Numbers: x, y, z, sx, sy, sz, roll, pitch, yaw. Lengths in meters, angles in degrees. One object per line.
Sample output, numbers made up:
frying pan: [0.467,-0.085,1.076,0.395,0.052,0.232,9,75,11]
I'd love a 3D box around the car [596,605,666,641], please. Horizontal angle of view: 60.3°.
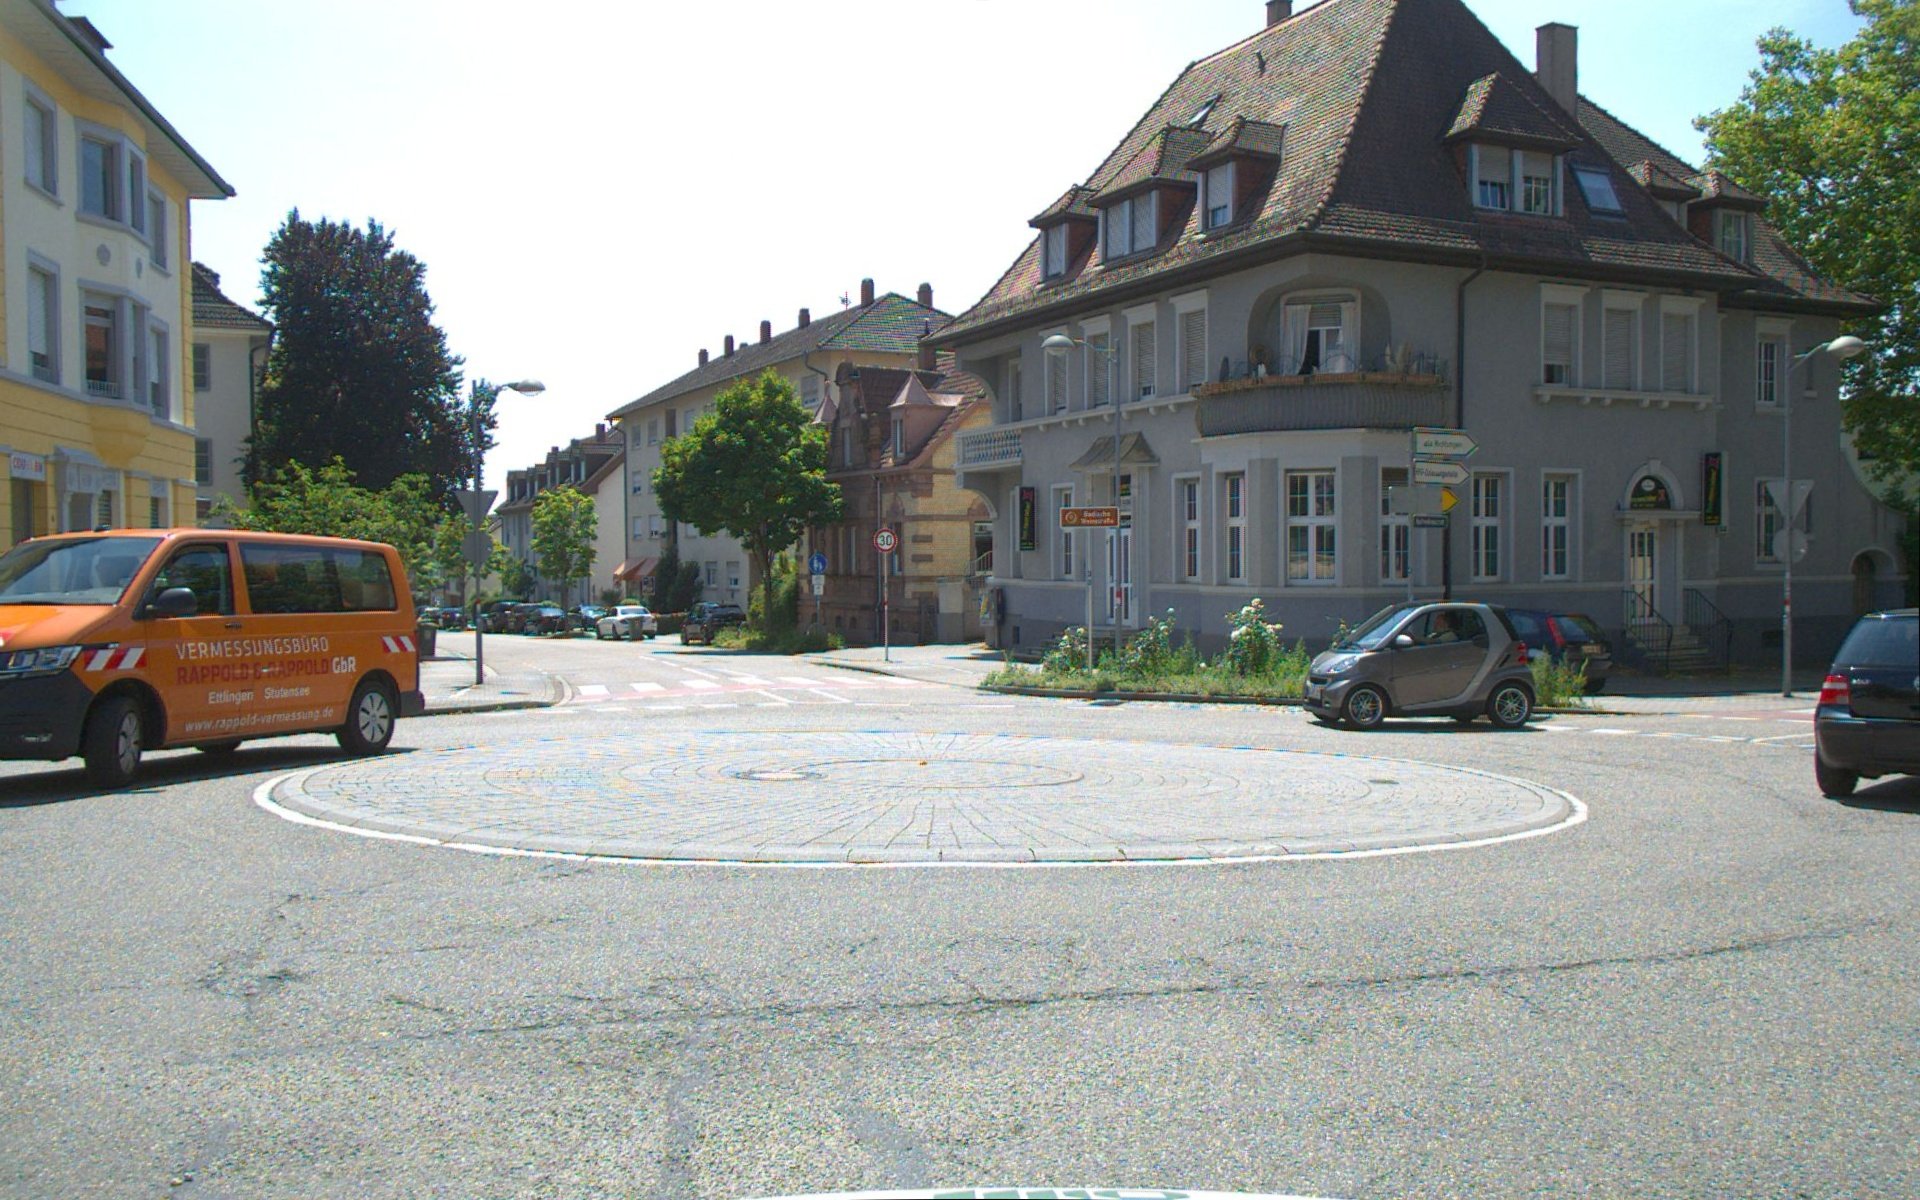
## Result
car: [-14.835,1.009,74.390,1.970,1.535,4.380,0,0,-27]

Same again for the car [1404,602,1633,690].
car: [10.017,0.775,29.898,1.701,1.486,3.753,0,0,-31]

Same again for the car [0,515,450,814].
car: [-6.524,0.367,13.715,1.903,1.993,5.024,0,1,17]

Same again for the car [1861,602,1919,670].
car: [23.158,0.834,38.626,1.701,1.573,3.357,0,0,-31]

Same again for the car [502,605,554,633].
car: [-24.407,1.073,93.317,1.970,1.535,4.380,0,0,-27]

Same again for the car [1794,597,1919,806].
car: [8.288,0.744,13.179,4.026,1.473,1.689,1,0,-44]

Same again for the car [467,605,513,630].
car: [-29.083,1.081,102.266,1.970,1.535,4.380,0,0,-27]

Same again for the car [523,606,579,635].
car: [-21.762,1.069,87.869,1.970,1.535,4.380,0,0,-27]

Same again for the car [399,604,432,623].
car: [-43.286,1.061,131.513,1.969,1.514,3.966,1,-1,-26]

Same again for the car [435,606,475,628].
car: [-35.563,1.185,116.393,1.970,1.535,4.380,0,0,-27]

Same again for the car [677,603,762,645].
car: [-9.295,0.901,63.712,1.970,1.535,4.380,0,0,-27]

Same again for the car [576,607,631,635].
car: [-20.037,1.159,92.868,1.970,1.535,4.380,0,0,-27]

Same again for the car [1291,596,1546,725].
car: [5.729,0.733,20.838,2.727,1.557,1.567,0,0,-7]

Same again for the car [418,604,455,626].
car: [-38.535,1.083,121.658,1.970,1.535,4.380,0,0,-27]

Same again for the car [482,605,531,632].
car: [-26.899,1.075,97.938,1.970,1.535,4.380,0,0,-27]
